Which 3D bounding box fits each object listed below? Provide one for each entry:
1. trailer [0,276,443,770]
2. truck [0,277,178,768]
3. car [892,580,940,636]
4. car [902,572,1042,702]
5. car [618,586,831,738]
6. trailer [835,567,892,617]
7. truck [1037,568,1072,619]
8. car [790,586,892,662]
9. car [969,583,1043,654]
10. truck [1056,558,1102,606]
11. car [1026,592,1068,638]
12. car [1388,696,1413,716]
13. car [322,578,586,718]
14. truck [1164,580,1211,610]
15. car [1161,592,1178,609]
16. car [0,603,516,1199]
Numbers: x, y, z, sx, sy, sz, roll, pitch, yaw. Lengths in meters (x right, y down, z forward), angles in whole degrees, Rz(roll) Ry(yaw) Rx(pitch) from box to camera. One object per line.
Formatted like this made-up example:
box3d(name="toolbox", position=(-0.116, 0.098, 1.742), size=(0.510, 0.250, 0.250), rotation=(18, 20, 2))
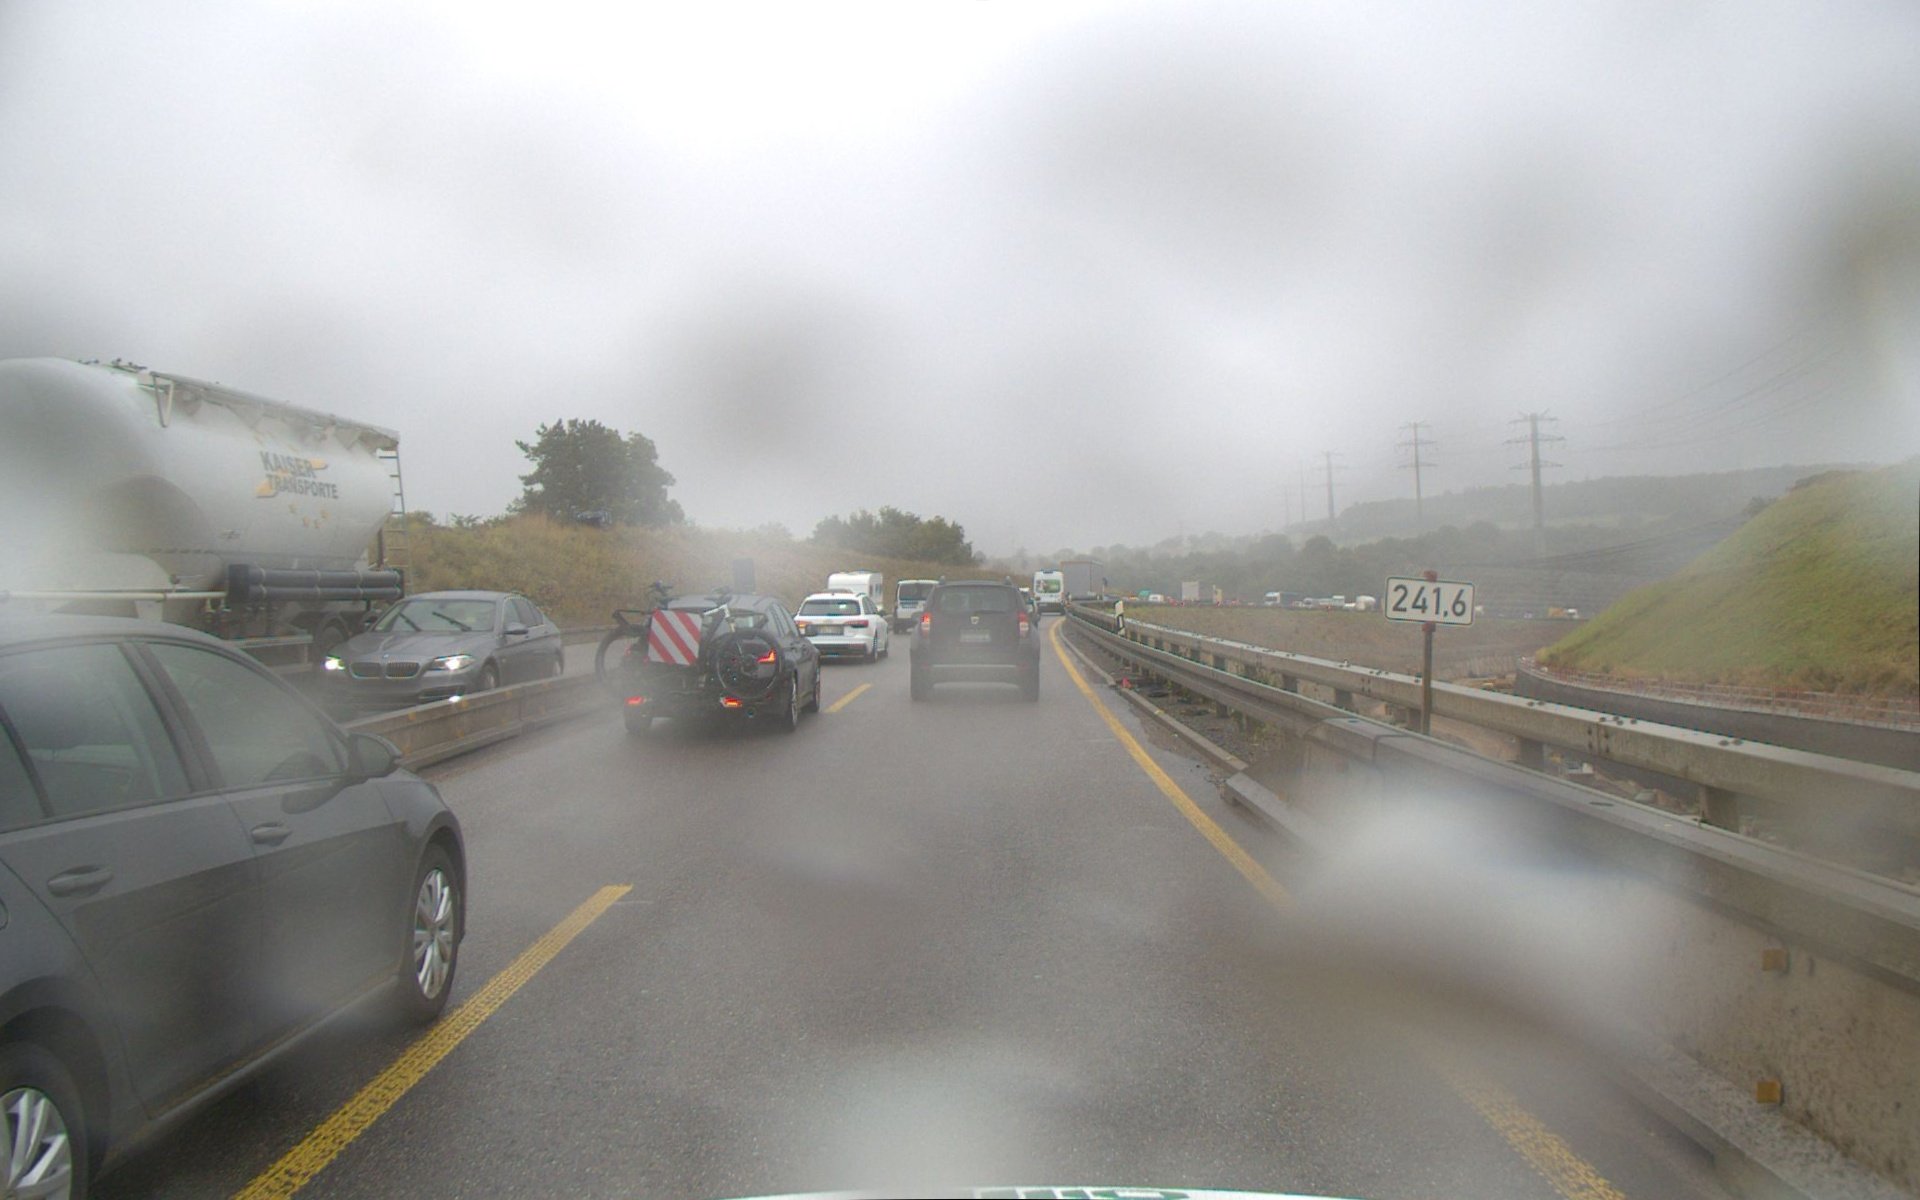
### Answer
box3d(name="trailer", position=(-9.396, -0.616, 19.027), size=(3.188, 4.033, 11.536), rotation=(-1, 0, 0))
box3d(name="truck", position=(-9.432, -0.622, 13.630), size=(3.165, 4.025, 5.881), rotation=(-1, 0, 0))
box3d(name="car", position=(-1.542, 0.259, 58.661), size=(1.626, 1.913, 4.019), rotation=(1, 0, -1))
box3d(name="car", position=(0.246, 0.488, 23.425), size=(1.766, 1.674, 3.778), rotation=(0, 0, 3))
box3d(name="car", position=(-2.498, 0.622, 18.381), size=(1.791, 1.502, 3.776), rotation=(0, 0, 0))
box3d(name="trailer", position=(-5.241, -0.458, 90.659), size=(2.458, 2.609, 7.165), rotation=(1, 1, 2))
box3d(name="truck", position=(6.157, -0.400, 108.628), size=(2.104, 3.221, 6.461), rotation=(1, 0, 2))
box3d(name="car", position=(-2.456, 0.469, 34.992), size=(1.829, 1.486, 4.548), rotation=(1, 0, 0))
box3d(name="car", position=(1.185, 0.459, 43.119), size=(1.829, 1.738, 4.001), rotation=(1, 0, 1))
box3d(name="truck", position=(9.807, -1.449, 135.501), size=(3.132, 3.827, 8.516), rotation=(1, 0, 8))
box3d(name="car", position=(3.275, 0.539, 63.040), size=(1.499, 1.669, 4.014), rotation=(1, 0, 2))
box3d(name="car", position=(51.554, 12.347, 193.574), size=(2.315, 2.049, 4.003), rotation=(1, 0, 8))
box3d(name="car", position=(-6.053, 0.523, 20.427), size=(1.766, 1.464, 4.950), rotation=(-2, 0, -1))
box3d(name="truck", position=(33.647, -0.772, 243.731), size=(4.617, 4.222, 15.692), rotation=(1, 0, 16))
box3d(name="car", position=(25.487, 0.037, 201.283), size=(1.737, 1.949, 4.003), rotation=(1, 0, 12))
box3d(name="car", position=(-2.509, 0.803, 4.235), size=(1.581, 1.532, 4.367), rotation=(-2, 0, -1))
